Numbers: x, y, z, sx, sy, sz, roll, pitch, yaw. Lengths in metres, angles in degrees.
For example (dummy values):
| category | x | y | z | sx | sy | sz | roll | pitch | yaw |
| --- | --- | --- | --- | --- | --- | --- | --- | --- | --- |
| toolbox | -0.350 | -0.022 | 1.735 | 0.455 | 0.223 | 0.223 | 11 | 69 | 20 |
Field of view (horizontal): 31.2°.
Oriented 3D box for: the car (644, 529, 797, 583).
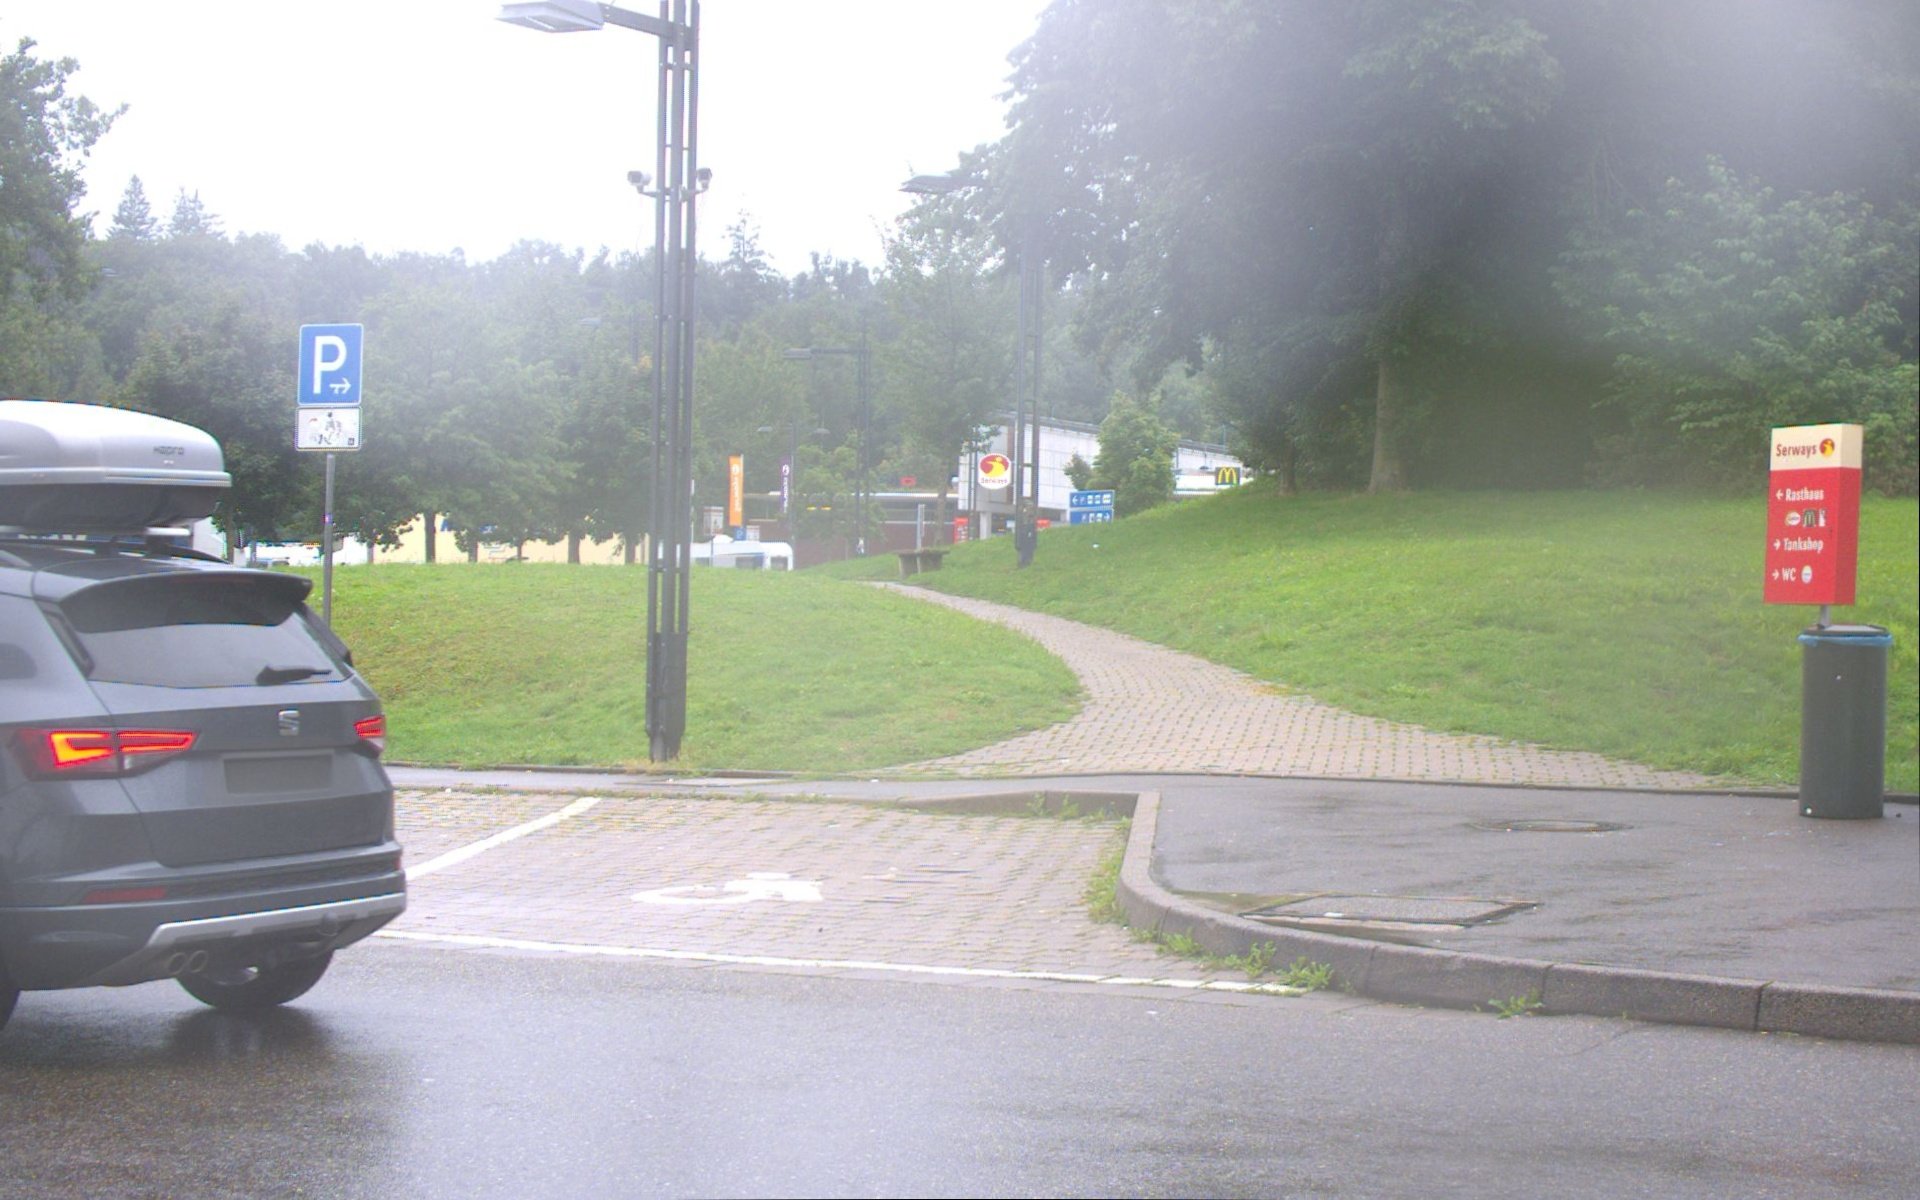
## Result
| category | x | y | z | sx | sy | sz | roll | pitch | yaw |
| --- | --- | --- | --- | --- | --- | --- | --- | --- | --- |
| car | -9.308 | -1.730 | 133.654 | 5.429 | 2.007 | 2.453 | 1 | 1 | 20 |

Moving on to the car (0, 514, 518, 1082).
| category | x | y | z | sx | sy | sz | roll | pitch | yaw |
| --- | --- | --- | --- | --- | --- | --- | --- | --- | --- |
| car | -3.807 | 0.501 | 11.440 | 4.318 | 1.582 | 1.888 | 1 | 1 | 27 |

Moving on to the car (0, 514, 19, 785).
| category | x | y | z | sx | sy | sz | roll | pitch | yaw |
| --- | --- | --- | --- | --- | --- | --- | --- | --- | --- |
| car | -7.766 | 0.371 | 21.442 | 1.885 | 1.821 | 4.411 | 0 | 1 | 11 |
